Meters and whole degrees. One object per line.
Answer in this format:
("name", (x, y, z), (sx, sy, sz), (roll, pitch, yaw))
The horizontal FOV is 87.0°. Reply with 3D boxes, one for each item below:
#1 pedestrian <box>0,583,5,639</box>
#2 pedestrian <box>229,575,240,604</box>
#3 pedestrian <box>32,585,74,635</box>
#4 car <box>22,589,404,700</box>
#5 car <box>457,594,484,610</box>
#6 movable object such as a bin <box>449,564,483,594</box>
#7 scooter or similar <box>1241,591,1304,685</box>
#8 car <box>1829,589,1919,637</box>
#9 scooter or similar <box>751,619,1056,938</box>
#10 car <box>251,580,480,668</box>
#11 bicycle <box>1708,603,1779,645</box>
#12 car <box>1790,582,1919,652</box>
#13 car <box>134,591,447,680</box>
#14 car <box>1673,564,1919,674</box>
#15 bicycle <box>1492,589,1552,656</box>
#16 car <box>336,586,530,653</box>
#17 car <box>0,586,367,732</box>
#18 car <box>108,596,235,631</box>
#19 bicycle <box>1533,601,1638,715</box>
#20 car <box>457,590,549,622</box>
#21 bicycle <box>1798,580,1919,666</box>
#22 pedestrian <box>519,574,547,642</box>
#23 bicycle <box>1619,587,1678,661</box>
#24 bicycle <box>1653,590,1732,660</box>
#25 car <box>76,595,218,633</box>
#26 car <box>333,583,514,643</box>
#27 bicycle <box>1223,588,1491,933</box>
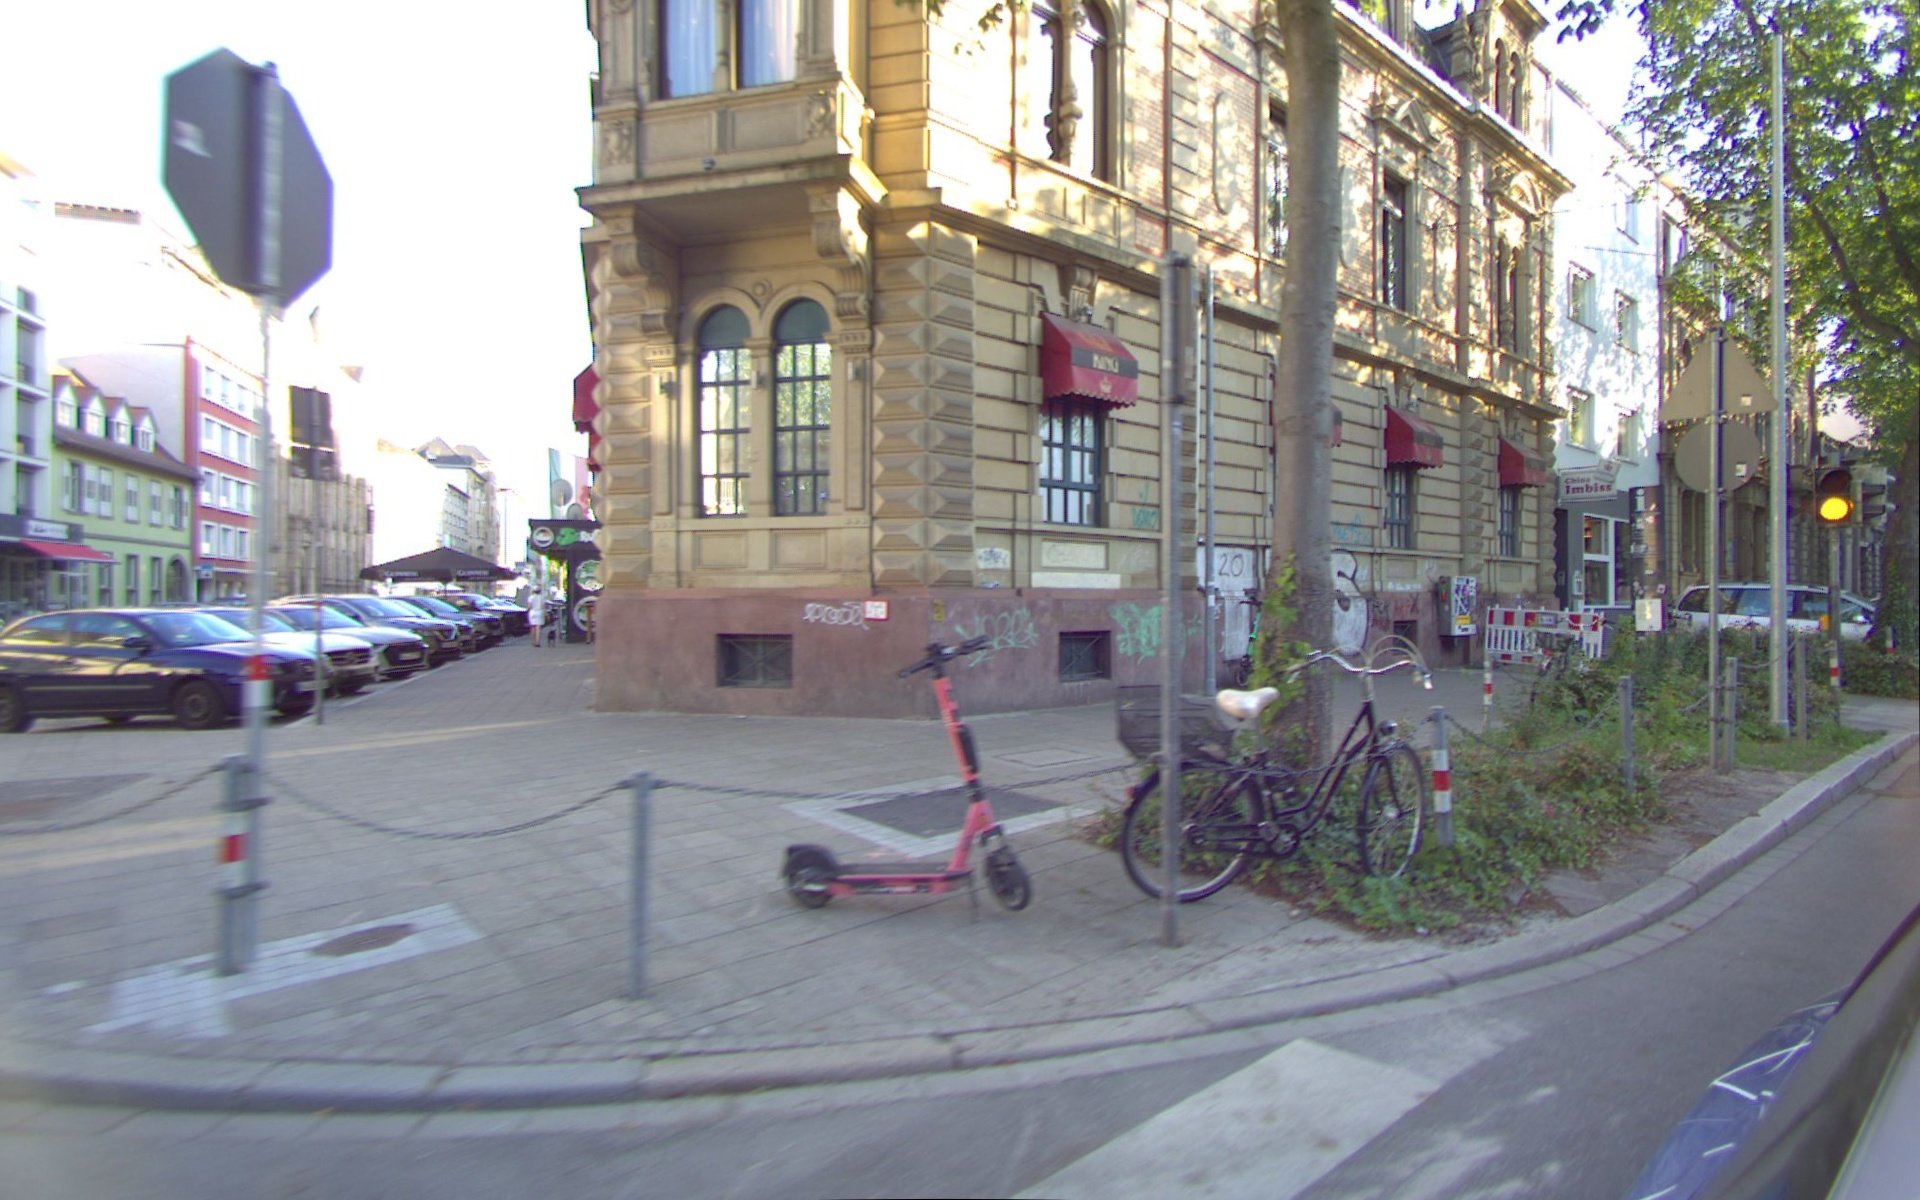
("pedestrian", (-35.033, 0.399, 36.482), (0.665, 2.039, 0.621), (0, 0, -18))
("pedestrian", (-43.295, -0.618, 60.366), (0.418, 1.728, 0.499), (1, -1, -28))
("pedestrian", (-37.165, 0.400, 41.484), (0.891, 2.039, 1.104), (-1, 0, -18))
("car", (-11.334, 0.600, 15.459), (4.914, 1.476, 1.981), (1, 0, 13))
("car", (-43.336, 0.191, 89.649), (1.707, 1.390, 4.007), (-1, 0, -20))
("movable object such as a bin", (-51.441, -2.170, 105.454), (2.306, 2.993, 5.584), (-1, 0, -18))
("scooter or similar", (4.185, 0.493, 13.531), (1.073, 1.209, 0.251), (1, -1, -40))
("car", (29.784, 0.397, 30.956), (1.890, 1.455, 4.595), (0, 1, -38))
("scooter or similar", (-0.219, 0.718, 4.368), (1.252, 1.259, 0.505), (0, 0, 7))
("car", (-12.682, 0.463, 21.697), (4.072, 1.747, 1.775), (1, 0, 10))
("bicycle", (14.226, 0.414, 18.348), (2.289, 0.673, 0.582), (-1, 0, -41))
("car", (22.534, 0.393, 23.883), (1.934, 1.580, 4.237), (1, 1, -37))
("car", (-12.283, 0.618, 18.675), (4.896, 1.476, 1.869), (1, -1, 11))
("car", (16.585, 0.302, 19.344), (1.917, 1.939, 4.546), (0, 1, -42))
("bicycle", (10.612, 0.405, 19.099), (1.694, 1.226, 0.386), (0, 1, -39))
("car", (-13.129, 0.443, 25.300), (4.072, 1.559, 1.775), (1, 0, 10))
("car", (-9.720, 0.699, 12.228), (4.206, 1.430, 1.709), (-4, 0, 7))
("car", (-33.928, 0.541, 43.627), (1.769, 1.386, 4.120), (1, 1, 42))
("bicycle", (7.124, 0.601, 11.480), (0.523, 1.167, 2.213), (0, 0, 45))
("car", (-23.063, 0.313, 51.235), (4.051, 1.580, 1.784), (0, 0, -18))
("bicycle", (18.986, 0.456, 20.424), (0.647, 1.684, 3.114), (0, -1, -44))
("pedestrian", (-11.403, 0.196, 27.027), (0.621, 1.785, 0.737), (0, 0, -19))
("bicycle", (12.172, 0.396, 17.883), (1.694, 1.250, 0.386), (0, 1, -39))
("bicycle", (13.713, 0.437, 18.914), (2.120, 1.255, 0.582), (0, 0, -37))
("car", (-32.499, 0.538, 40.585), (1.763, 1.386, 4.133), (0, 1, 33))
("car", (-14.801, 0.333, 28.097), (4.056, 1.580, 1.782), (1, 0, -5))
("bicycle", (1.814, 0.646, 4.580), (1.262, 1.389, 0.418), (0, 0, -29))
